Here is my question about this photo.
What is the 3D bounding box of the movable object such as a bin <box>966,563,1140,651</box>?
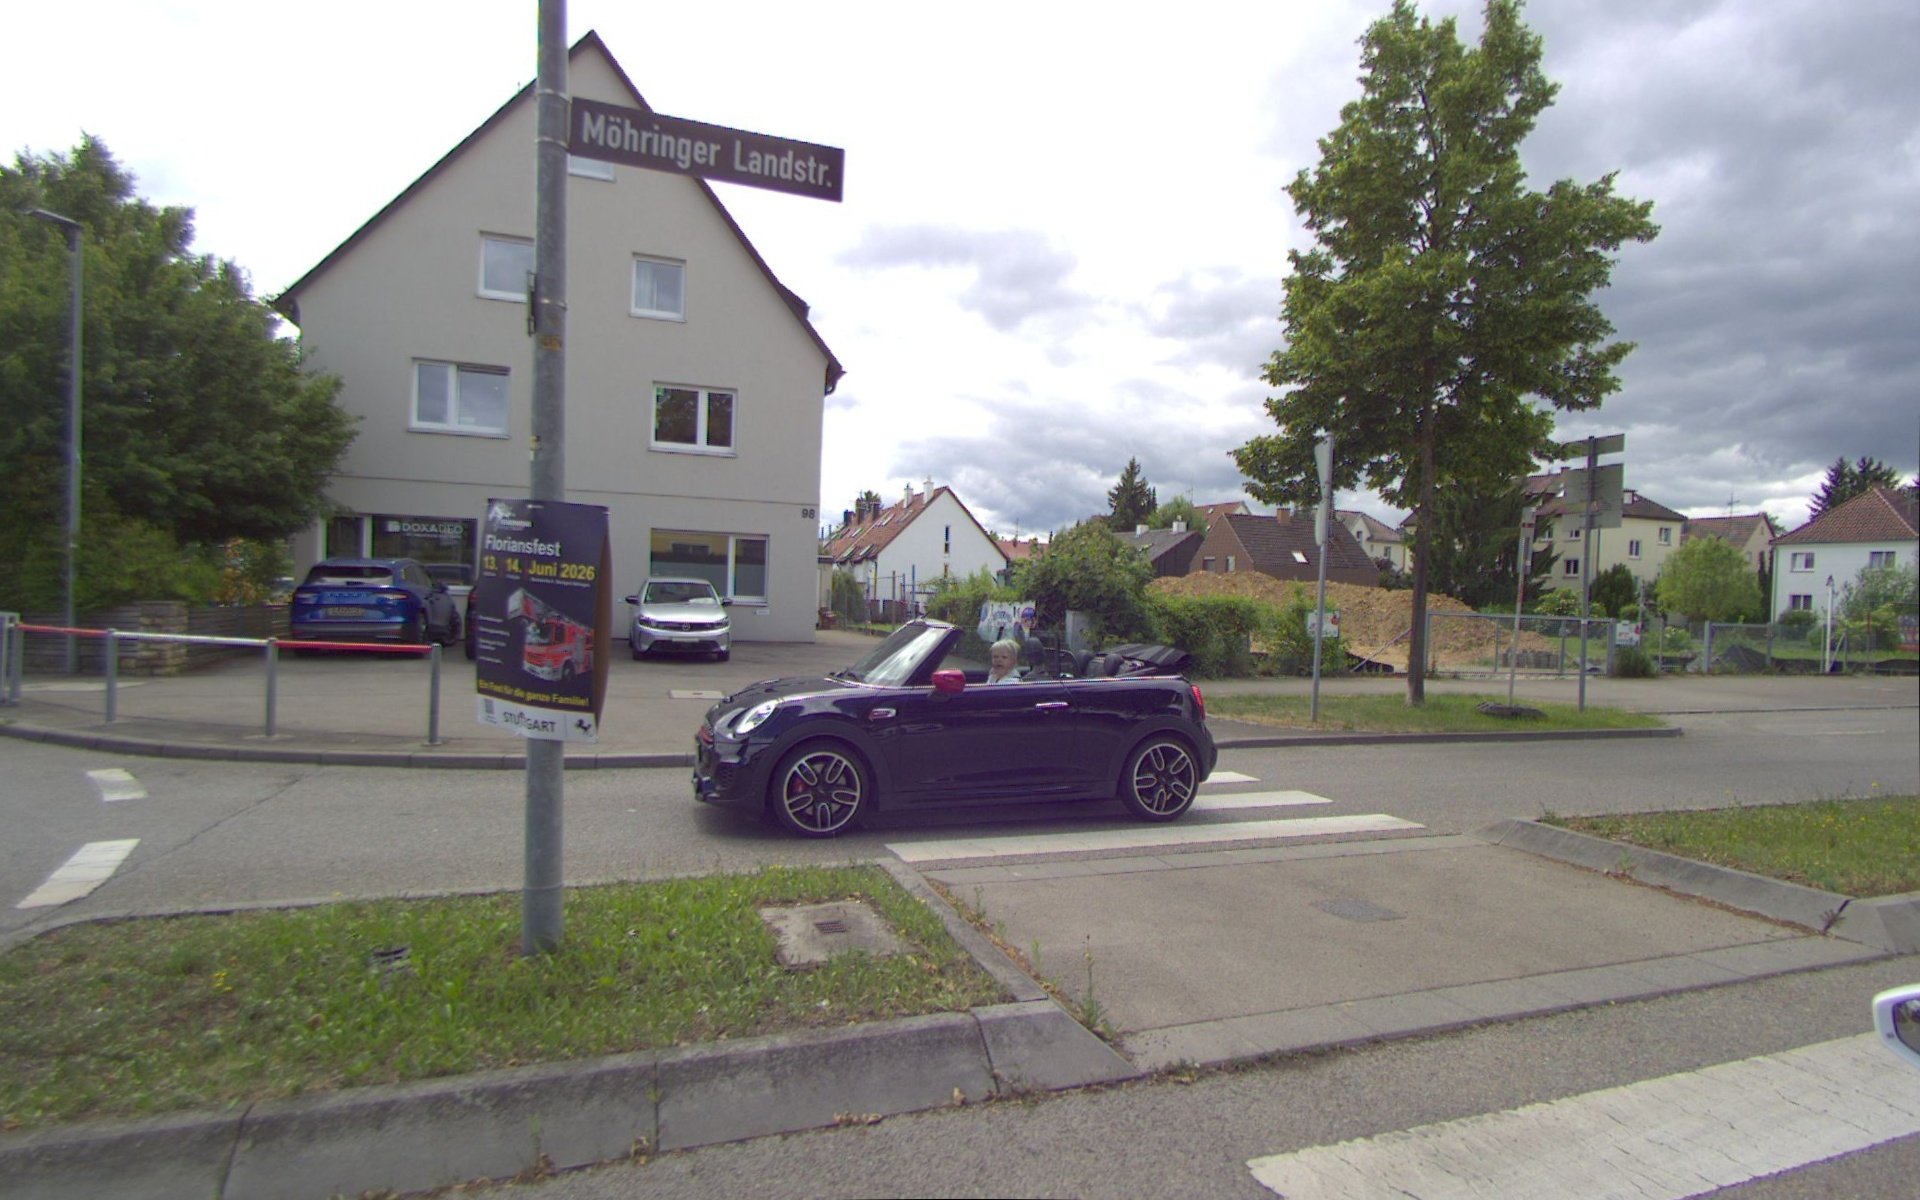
[{"bbox_3d":[2.535,0.216,27.397,4.302,2.217,1.891,2,0,-24],"label":"movable object such as a bin"}]

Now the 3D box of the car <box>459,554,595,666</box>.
[{"bbox_3d":[-7.507,0.104,17.758,1.827,1.684,3.913,3,1,-19],"label":"car"}]

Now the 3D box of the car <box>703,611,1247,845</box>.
[{"bbox_3d":[0.073,0.829,7.413,3.685,1.380,1.571,2,0,-19],"label":"car"}]

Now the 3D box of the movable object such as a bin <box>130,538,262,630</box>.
[{"bbox_3d":[-26.442,-0.533,34.948,2.639,2.954,3.682,2,0,-21],"label":"movable object such as a bin"}]

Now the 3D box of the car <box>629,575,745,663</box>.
[{"bbox_3d":[-5.248,0.301,18.987,1.721,1.421,3.911,2,1,-21],"label":"car"}]

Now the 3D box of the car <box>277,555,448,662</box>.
[{"bbox_3d":[-10.017,0.073,17.149,1.792,1.556,3.911,3,1,-21],"label":"car"}]
